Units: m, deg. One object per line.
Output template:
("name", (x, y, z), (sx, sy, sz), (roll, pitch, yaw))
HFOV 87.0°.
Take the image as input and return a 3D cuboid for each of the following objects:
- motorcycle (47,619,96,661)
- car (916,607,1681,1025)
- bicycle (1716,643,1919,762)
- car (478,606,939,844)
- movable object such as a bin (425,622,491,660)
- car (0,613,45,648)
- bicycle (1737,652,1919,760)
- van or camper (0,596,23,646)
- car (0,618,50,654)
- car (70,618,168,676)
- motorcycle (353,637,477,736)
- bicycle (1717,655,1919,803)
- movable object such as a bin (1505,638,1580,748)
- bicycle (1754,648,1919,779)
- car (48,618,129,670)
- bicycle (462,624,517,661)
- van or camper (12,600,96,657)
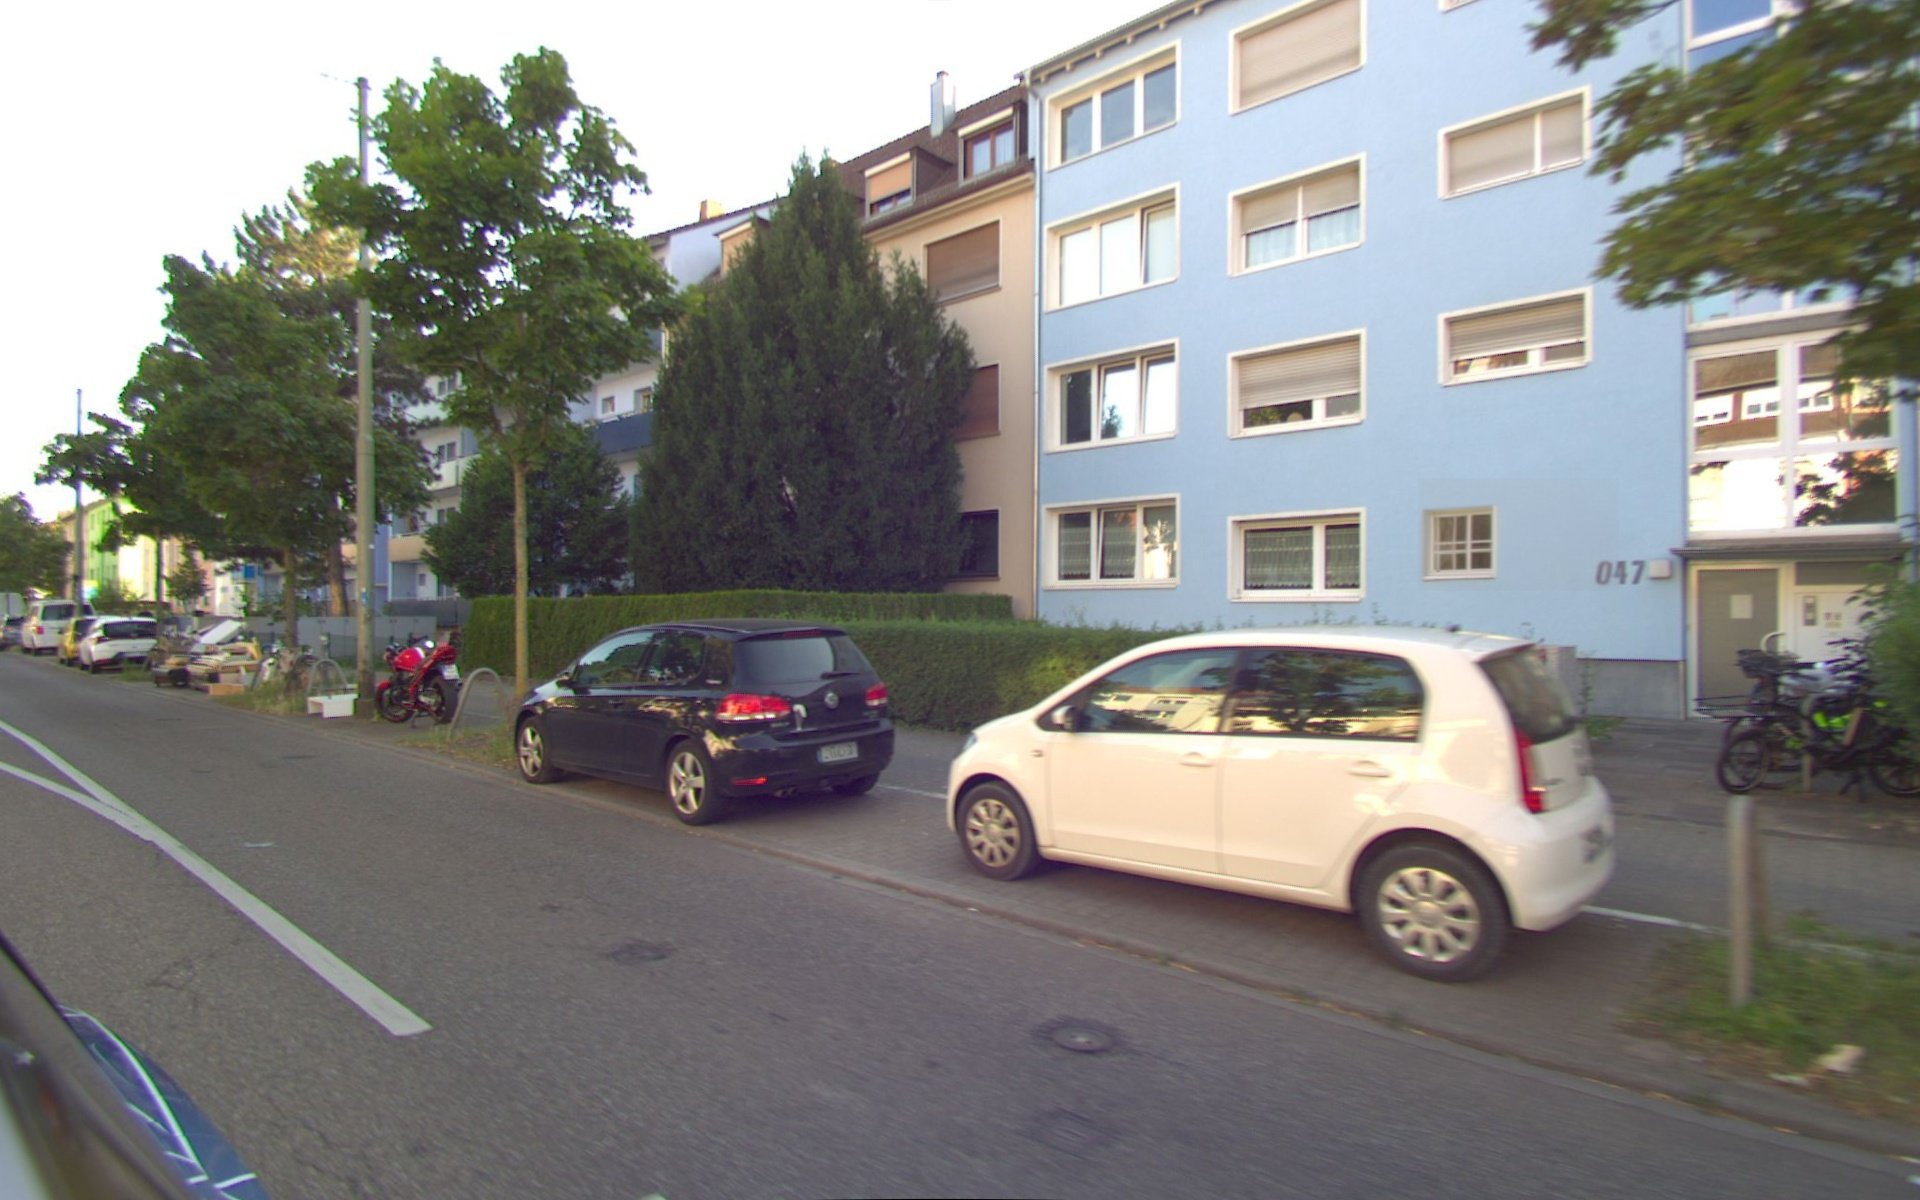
("motorcycle", (-30.851, 1.378, 35.160), (0.780, 1.412, 2.024), (0, -1, -27))
("car", (1.610, 0.804, 5.508), (3.640, 1.503, 1.574), (0, 0, 41))
("bicycle", (8.324, 0.961, 9.889), (1.476, 1.058, 0.528), (-1, -1, 37))
("car", (-2.364, 0.847, 8.765), (4.315, 1.529, 1.817), (-1, 0, 43))
("movable object such as a bin", (-14.739, 1.194, 29.729), (1.060, 1.057, 1.446), (-1, -1, 42))
("car", (-44.599, 1.418, 47.764), (3.957, 1.603, 1.784), (-1, -1, 44))
("bicycle", (9.189, 1.098, 10.676), (1.464, 1.058, 0.532), (0, -1, 12))
("van or camper", (-51.215, 1.091, 53.568), (5.334, 2.562, 1.892), (-1, -1, 42))
("car", (-41.042, 1.534, 44.079), (3.957, 1.509, 1.784), (-1, -1, 44))
("car", (-23.256, 1.246, 27.948), (3.882, 1.454, 1.661), (-1, 0, 44))
("motorcycle", (-7.145, 1.081, 13.221), (2.171, 1.145, 0.632), (-1, 1, 40))
("bicycle", (6.839, 0.971, 7.828), (1.468, 1.058, 0.531), (0, -1, 21))
("movable object such as a bin", (6.126, 0.949, 10.642), (0.559, 1.096, 0.723), (-1, -2, 41))
("bicycle", (7.859, 0.959, 8.728), (1.467, 1.058, 0.531), (0, -1, 20))
("car", (-27.005, 1.316, 31.335), (3.491, 1.480, 1.556), (-1, 0, 44))
("bicycle", (-14.543, 1.296, 31.244), (1.738, 1.104, 0.529), (-1, -1, 24))
("van or camper", (-34.429, 1.056, 38.426), (4.862, 2.029, 1.785), (-1, -1, 41))
